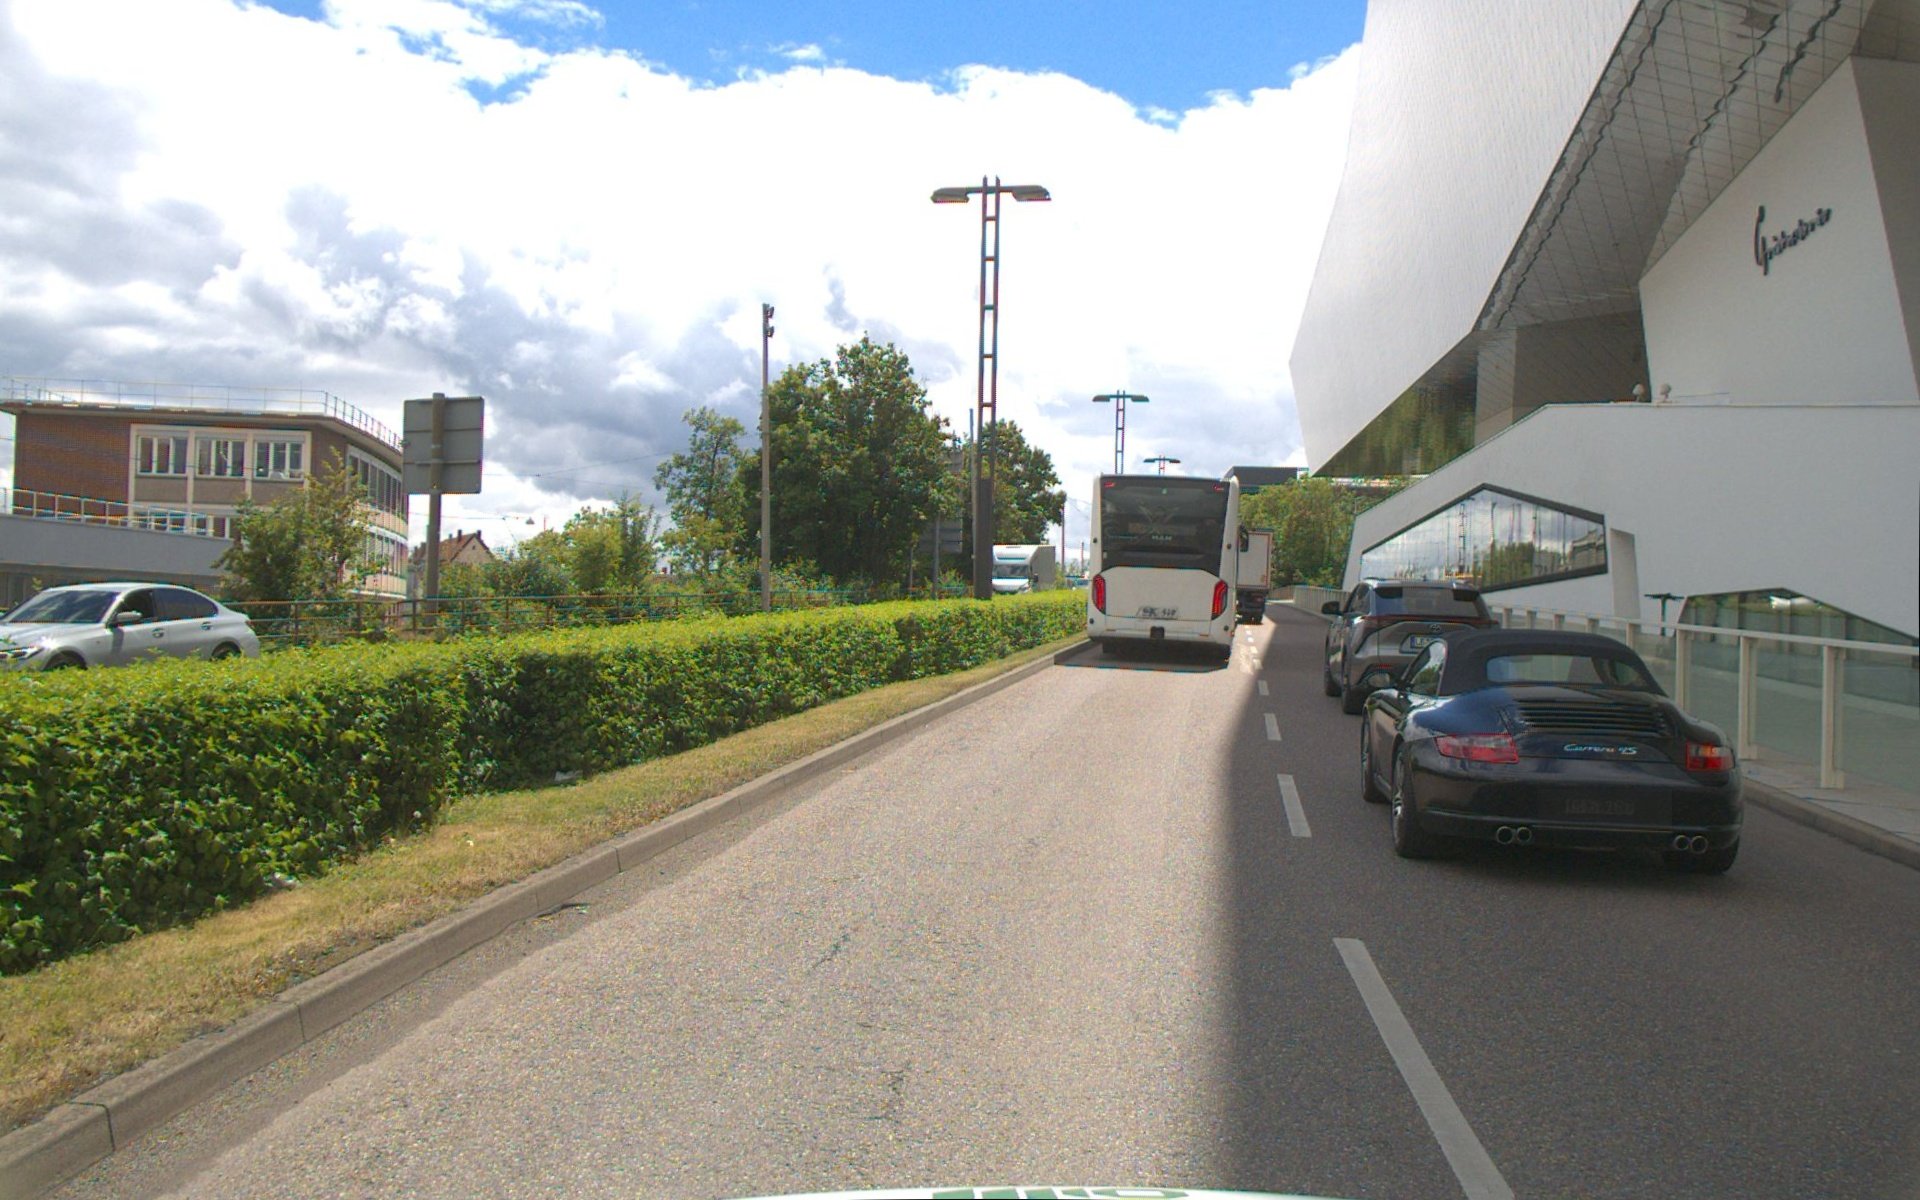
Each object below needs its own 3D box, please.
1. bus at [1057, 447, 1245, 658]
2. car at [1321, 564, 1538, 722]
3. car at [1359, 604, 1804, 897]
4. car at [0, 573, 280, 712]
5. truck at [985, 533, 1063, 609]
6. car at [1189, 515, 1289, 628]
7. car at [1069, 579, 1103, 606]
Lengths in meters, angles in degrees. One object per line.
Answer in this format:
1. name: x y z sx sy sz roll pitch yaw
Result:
1. bus: 4.230 -0.866 33.771 3.006 3.420 12.234 3 1 10
2. car: 5.655 0.436 20.418 1.951 1.665 4.004 3 1 8
3. car: 3.631 0.764 10.423 1.795 1.348 4.004 1 1 8
4. car: -10.477 0.413 20.221 1.717 1.422 4.678 3 1 10
5. truck: 3.140 -1.279 78.894 2.149 3.013 8.958 2 -2 12
6. car: 10.289 -0.913 61.620 3.264 3.565 9.347 3 -2 9
7. car: 9.368 -0.527 122.359 1.951 1.743 4.003 2 -2 12
